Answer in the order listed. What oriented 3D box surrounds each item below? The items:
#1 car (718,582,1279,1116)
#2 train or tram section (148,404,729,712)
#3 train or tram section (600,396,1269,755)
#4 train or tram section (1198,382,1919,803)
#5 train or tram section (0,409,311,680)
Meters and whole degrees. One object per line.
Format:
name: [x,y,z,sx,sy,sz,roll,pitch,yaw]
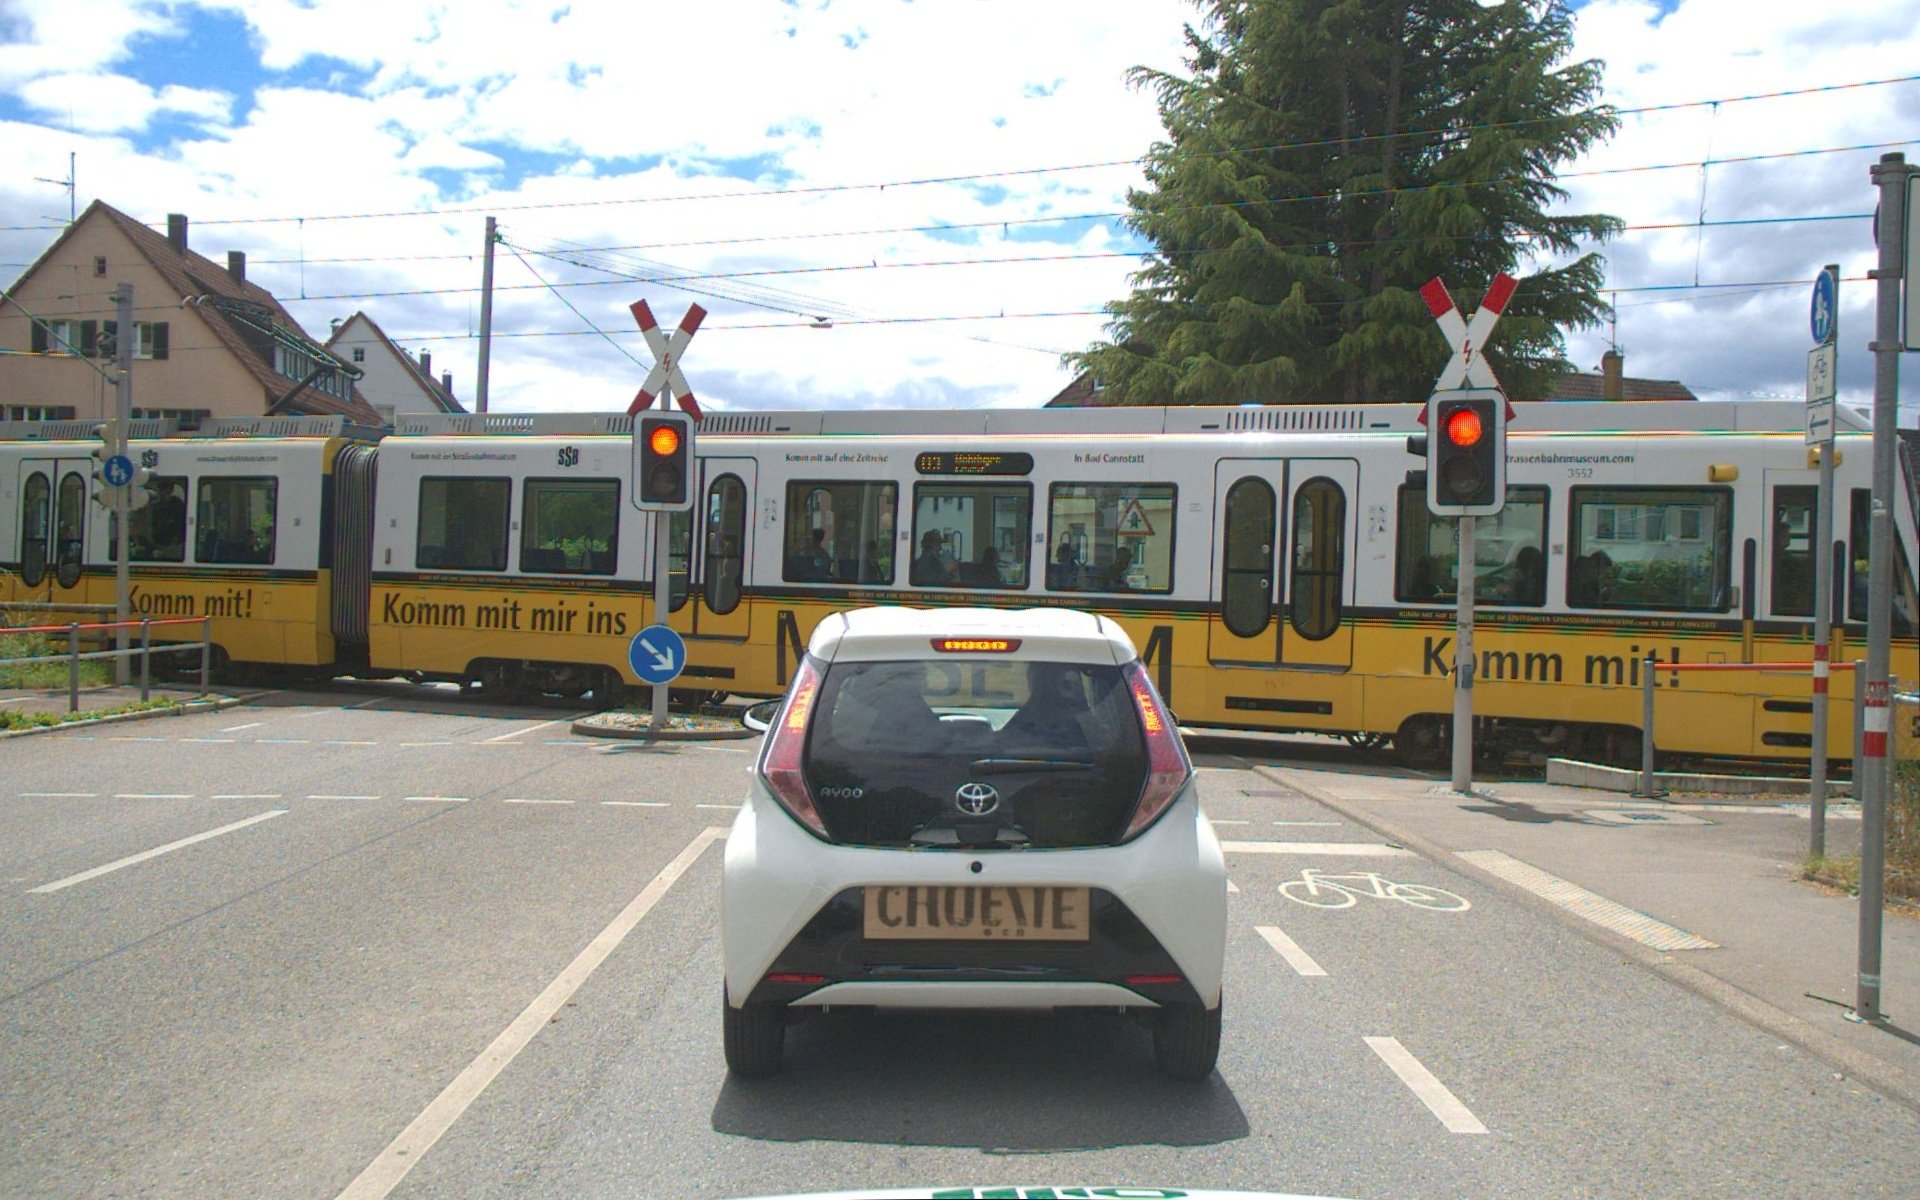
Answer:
car: [0.086,0.723,6.726,1.588,1.512,3.999,1,0,-1]
train or tram section: [-7.291,-0.640,23.071,7.535,3.786,2.869,2,0,22]
train or tram section: [-0.331,-0.382,20.174,7.535,3.786,2.869,2,0,22]
train or tram section: [6.583,-0.158,17.283,7.535,3.786,2.869,2,0,22]
train or tram section: [-14.215,-0.899,25.903,7.535,3.786,2.869,2,0,22]
